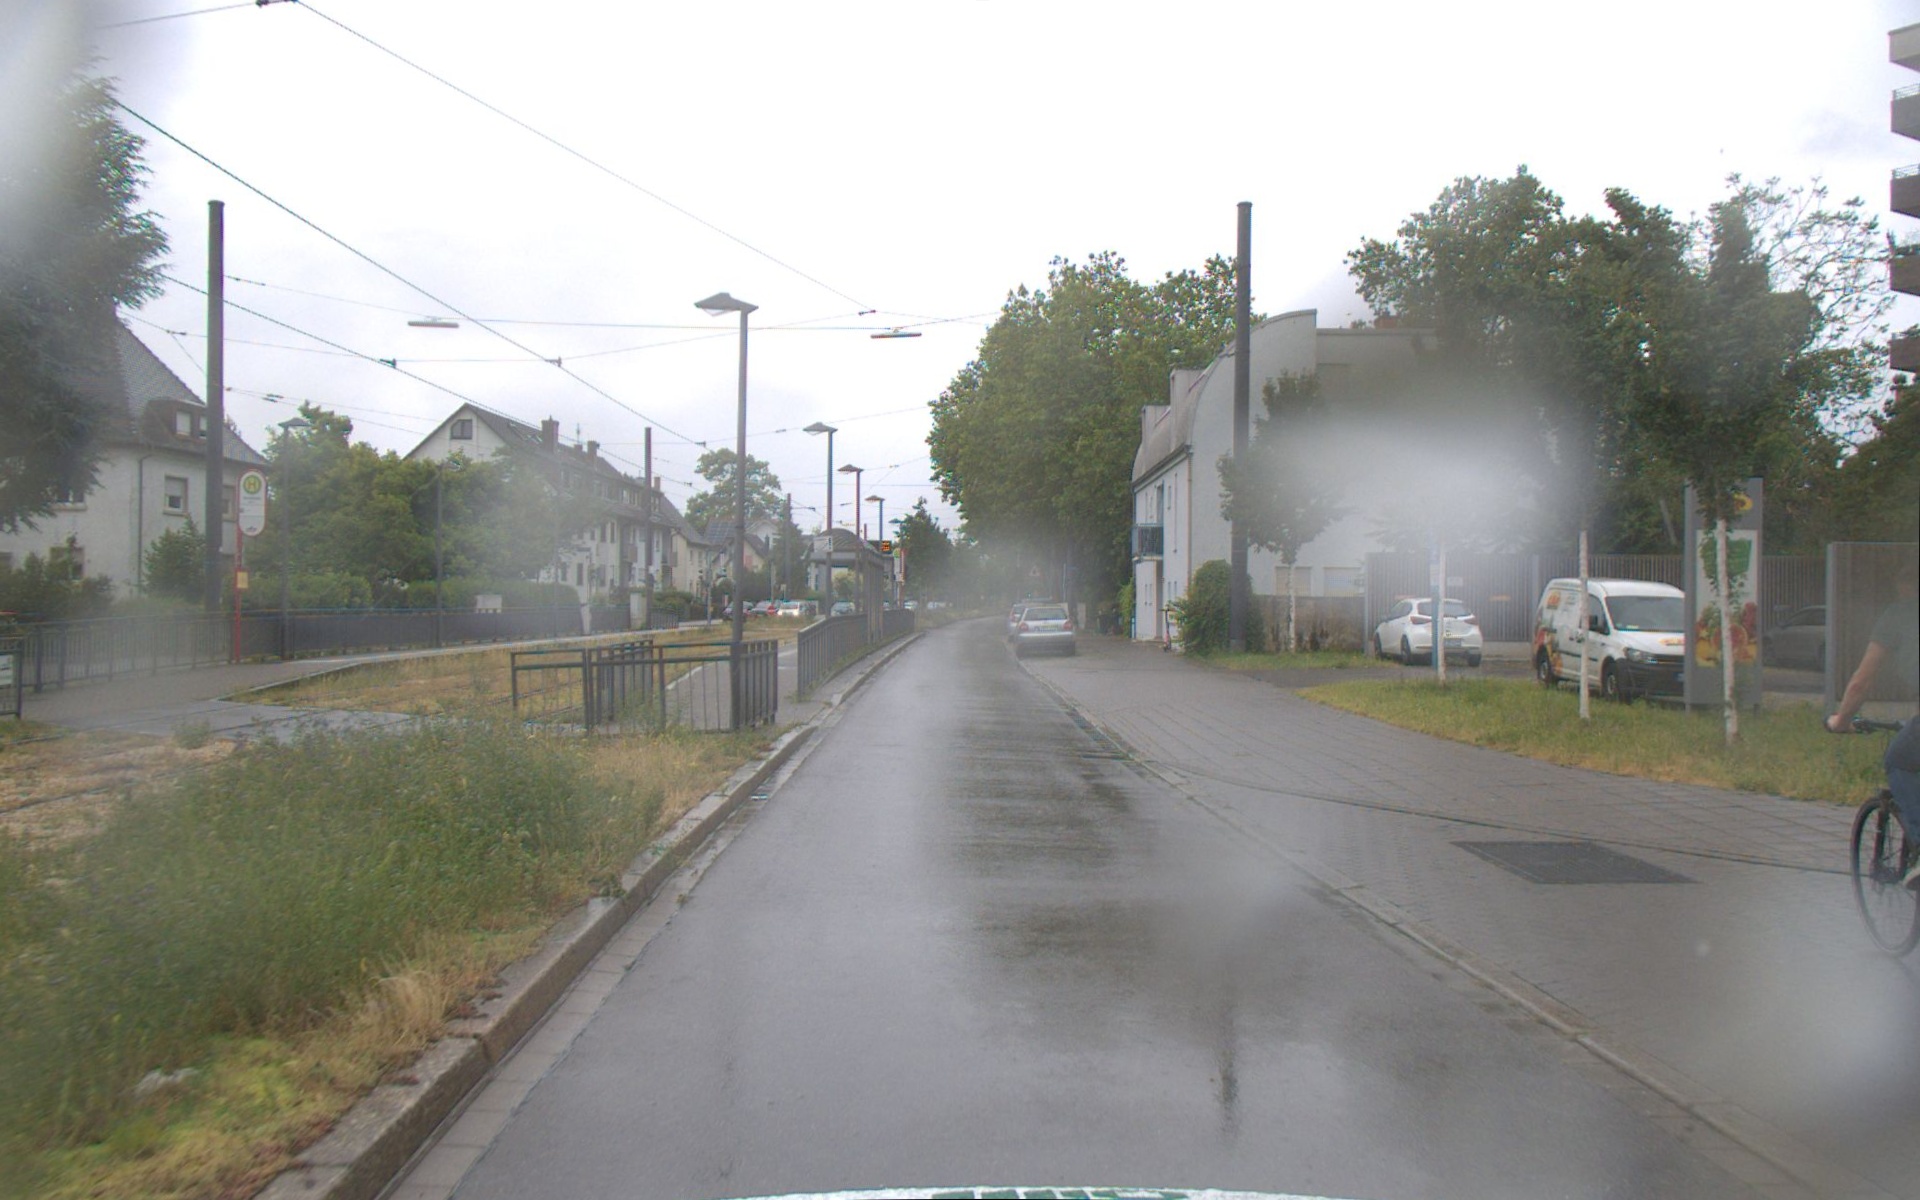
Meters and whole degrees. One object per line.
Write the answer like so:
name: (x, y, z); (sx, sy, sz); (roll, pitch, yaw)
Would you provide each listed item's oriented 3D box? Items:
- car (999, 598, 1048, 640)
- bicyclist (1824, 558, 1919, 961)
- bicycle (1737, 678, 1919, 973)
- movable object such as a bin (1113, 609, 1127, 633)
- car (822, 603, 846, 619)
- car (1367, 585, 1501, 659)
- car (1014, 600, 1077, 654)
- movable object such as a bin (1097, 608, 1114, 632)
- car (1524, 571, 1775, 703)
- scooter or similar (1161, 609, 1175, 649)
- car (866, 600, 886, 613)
car: (2.441, 0.744, 64.334); (1.770, 1.493, 3.794); (-3, -1, 1)
bicyclist: (4.029, 0.636, 6.756); (0.524, 1.587, 0.771); (1, -1, -8)
bicycle: (4.004, 0.916, 6.778); (0.526, 1.112, 1.945); (1, -1, -7)
movable object such as a bin: (7.087, 0.910, 73.252); (0.525, 1.040, 0.738); (-2, -1, 0)
car: (-12.706, 1.146, 166.967); (1.888, 1.512, 4.001); (1, -1, 4)
car: (10.790, 0.450, 37.951); (1.922, 1.561, 4.365); (1, 1, 2)
car: (2.469, 0.796, 48.554); (1.616, 1.430, 4.649); (-3, -1, 1)
movable object such as a bin: (6.499, 0.902, 73.944); (0.678, 1.040, 0.824); (-2, -1, 0)
car: (10.466, 0.491, 25.569); (1.922, 1.815, 4.898); (1, 1, 2)
scooter or similar: (5.950, 0.833, 47.345); (0.326, 1.104, 1.396); (1, -1, 5)
car: (-10.257, 0.778, 201.808); (1.888, 1.512, 4.001); (1, -1, 4)
